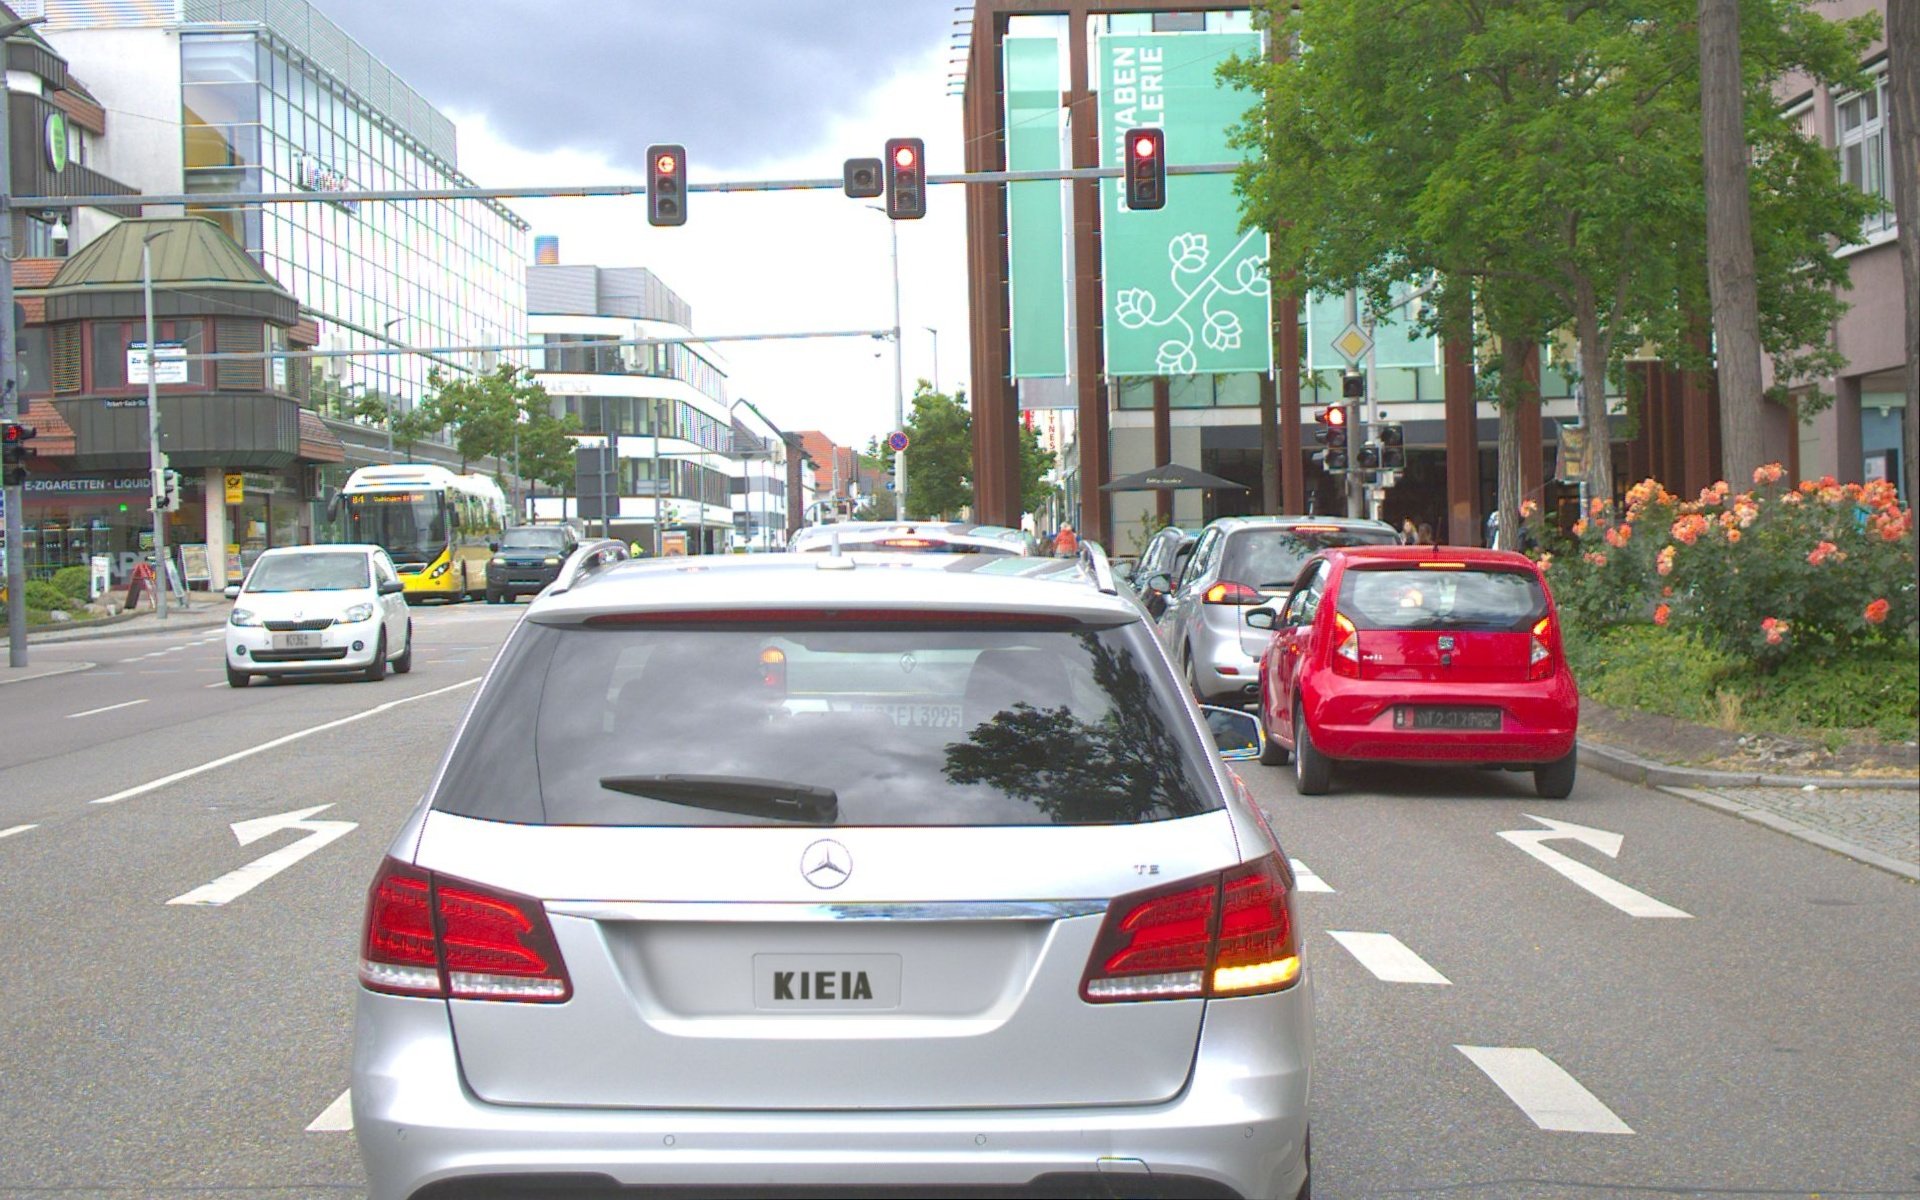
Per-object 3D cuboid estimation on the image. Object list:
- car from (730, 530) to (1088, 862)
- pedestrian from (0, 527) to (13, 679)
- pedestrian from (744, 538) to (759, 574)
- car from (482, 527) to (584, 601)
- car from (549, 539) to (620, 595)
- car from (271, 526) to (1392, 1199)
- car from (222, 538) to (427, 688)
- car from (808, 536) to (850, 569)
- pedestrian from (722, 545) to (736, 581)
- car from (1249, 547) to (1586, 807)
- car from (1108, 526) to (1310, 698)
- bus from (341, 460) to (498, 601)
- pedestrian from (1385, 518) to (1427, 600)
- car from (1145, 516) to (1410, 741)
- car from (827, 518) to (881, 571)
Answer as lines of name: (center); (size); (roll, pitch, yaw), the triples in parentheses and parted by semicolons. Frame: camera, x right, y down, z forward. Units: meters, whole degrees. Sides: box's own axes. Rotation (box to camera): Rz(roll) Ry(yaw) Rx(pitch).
car: (-0.251, 0.410, 17.514); (1.640, 1.522, 3.394); (0, 1, -1)
pedestrian: (-11.662, 0.040, 40.511); (0.683, 1.784, 0.648); (-1, 1, 26)
pedestrian: (-9.959, -2.101, 164.395); (0.520, 1.728, 0.488); (-1, 1, 20)
car: (-10.128, -0.872, 81.756); (1.993, 1.700, 4.065); (-1, 1, -1)
car: (-9.724, -0.869, 89.252); (1.555, 1.387, 3.288); (-1, 1, -1)
car: (-0.221, 0.582, 7.810); (1.815, 1.443, 4.370); (1, 1, 0)
car: (-6.785, 0.101, 37.005); (1.574, 1.483, 3.464); (-2, 1, -1)
car: (-6.334, -2.309, 166.757); (1.801, 1.535, 4.065); (-1, 1, 1)
pedestrian: (-11.011, -1.764, 163.758); (0.519, 1.728, 0.489); (-1, 1, 11)
car: (2.732, 0.410, 21.148); (1.586, 1.438, 3.348); (1, 1, 0)
car: (2.430, 0.074, 34.288); (1.586, 1.589, 3.868); (1, 1, -2)
bus: (-13.190, -1.716, 84.539); (2.686, 3.250, 8.654); (-1, 1, -1)
pedestrian: (9.045, -0.837, 69.730); (0.651, 1.645, 0.559); (-1, 1, -14)
car: (2.441, 0.173, 27.226); (1.586, 1.628, 3.917); (1, 1, -2)
car: (-4.004, -2.114, 130.725); (1.993, 1.942, 4.951); (-1, 1, -1)
